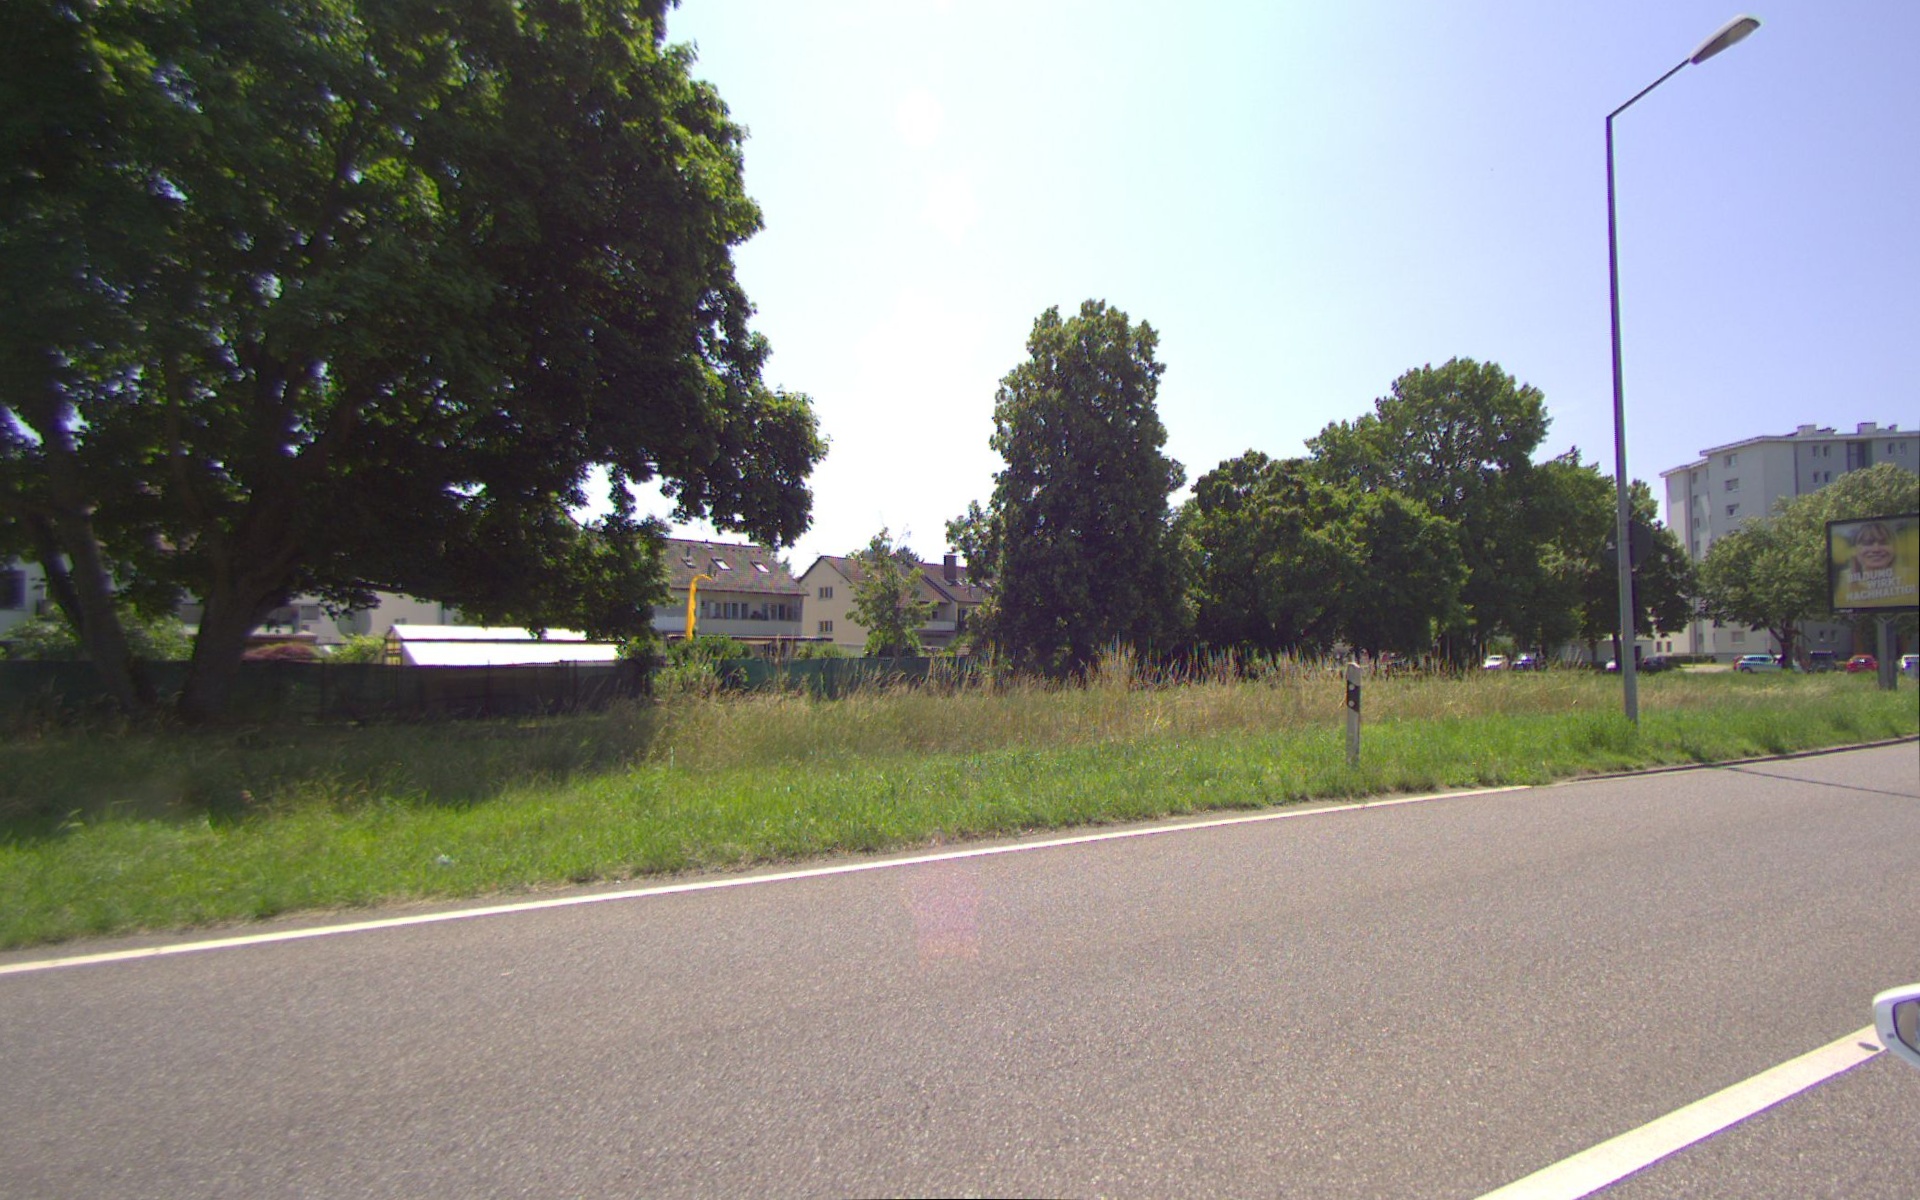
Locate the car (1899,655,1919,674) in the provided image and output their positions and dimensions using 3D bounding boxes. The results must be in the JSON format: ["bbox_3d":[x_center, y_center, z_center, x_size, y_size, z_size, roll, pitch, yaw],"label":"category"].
[{"bbox_3d":[74.587,5.023,78.437,1.605,1.398,3.981,-2,-3,40],"label":"car"}]

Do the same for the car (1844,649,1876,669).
[{"bbox_3d":[71.877,4.679,80.205,3.974,1.483,1.602,2,-3,-45],"label":"car"}]

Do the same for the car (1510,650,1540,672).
[{"bbox_3d":[53.425,5.726,95.019,1.824,1.973,3.983,-2,-3,39],"label":"car"}]

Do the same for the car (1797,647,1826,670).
[{"bbox_3d":[69.679,4.755,82.259,1.684,1.824,3.983,-2,-3,39],"label":"car"}]

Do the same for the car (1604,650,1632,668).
[{"bbox_3d":[59.594,5.303,90.994,1.668,1.582,3.821,-3,-4,39],"label":"car"}]

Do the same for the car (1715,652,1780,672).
[{"bbox_3d":[60.202,4.716,76.833,3.837,1.488,1.769,-3,-4,38],"label":"car"}]

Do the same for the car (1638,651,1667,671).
[{"bbox_3d":[61.874,5.423,89.720,1.824,1.733,3.983,-2,-3,39],"label":"car"}]

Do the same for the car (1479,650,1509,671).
[{"bbox_3d":[51.662,5.808,97.192,1.824,1.973,3.983,-2,-3,39],"label":"car"}]
